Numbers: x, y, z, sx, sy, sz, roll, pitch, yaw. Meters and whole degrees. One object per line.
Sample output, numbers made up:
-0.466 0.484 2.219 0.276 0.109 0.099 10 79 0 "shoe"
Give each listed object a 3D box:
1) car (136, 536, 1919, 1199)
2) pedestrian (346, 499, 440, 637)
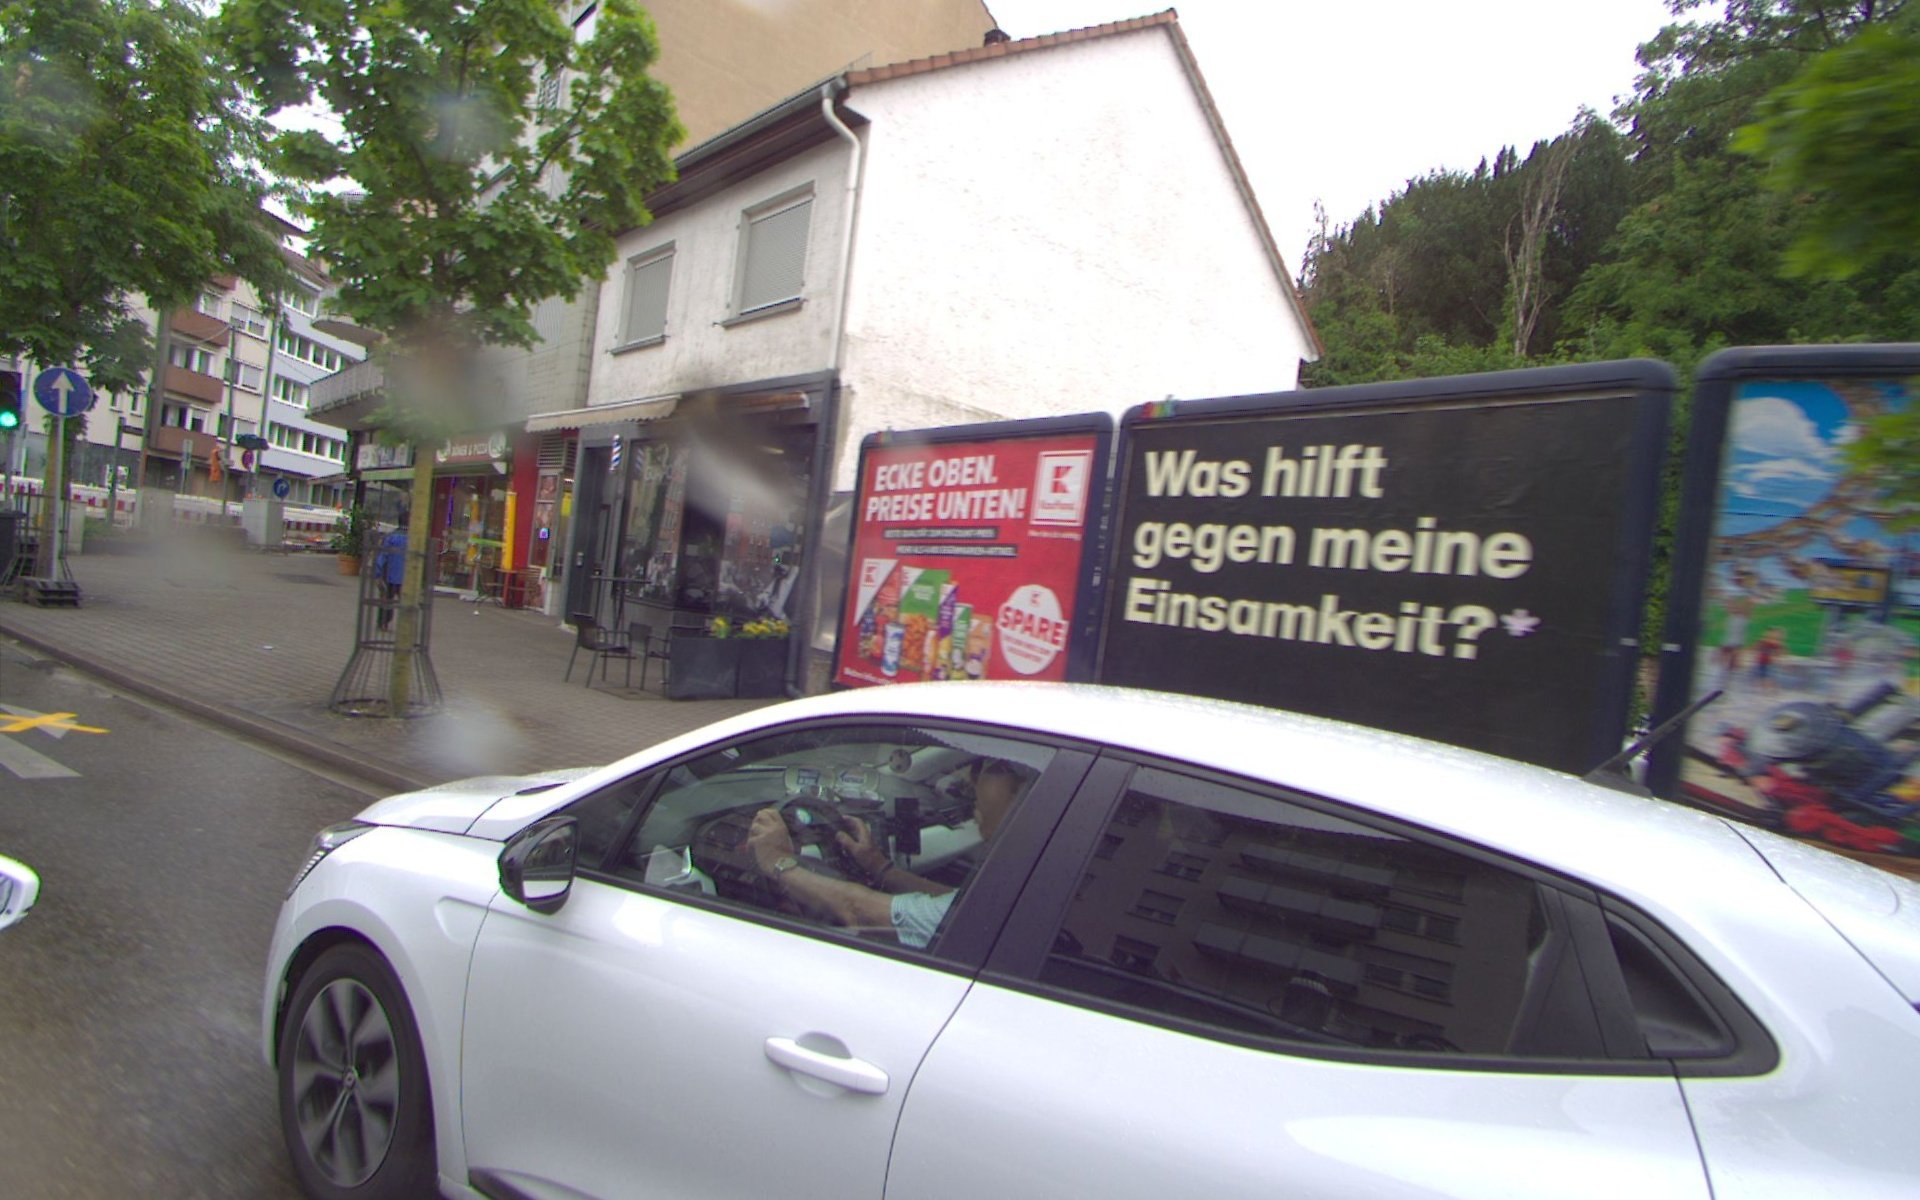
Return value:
-0.077 0.815 2.413 3.801 1.414 1.666 8 2 30 "car"
-7.823 -0.434 13.869 0.860 1.778 0.789 8 3 43 "pedestrian"
